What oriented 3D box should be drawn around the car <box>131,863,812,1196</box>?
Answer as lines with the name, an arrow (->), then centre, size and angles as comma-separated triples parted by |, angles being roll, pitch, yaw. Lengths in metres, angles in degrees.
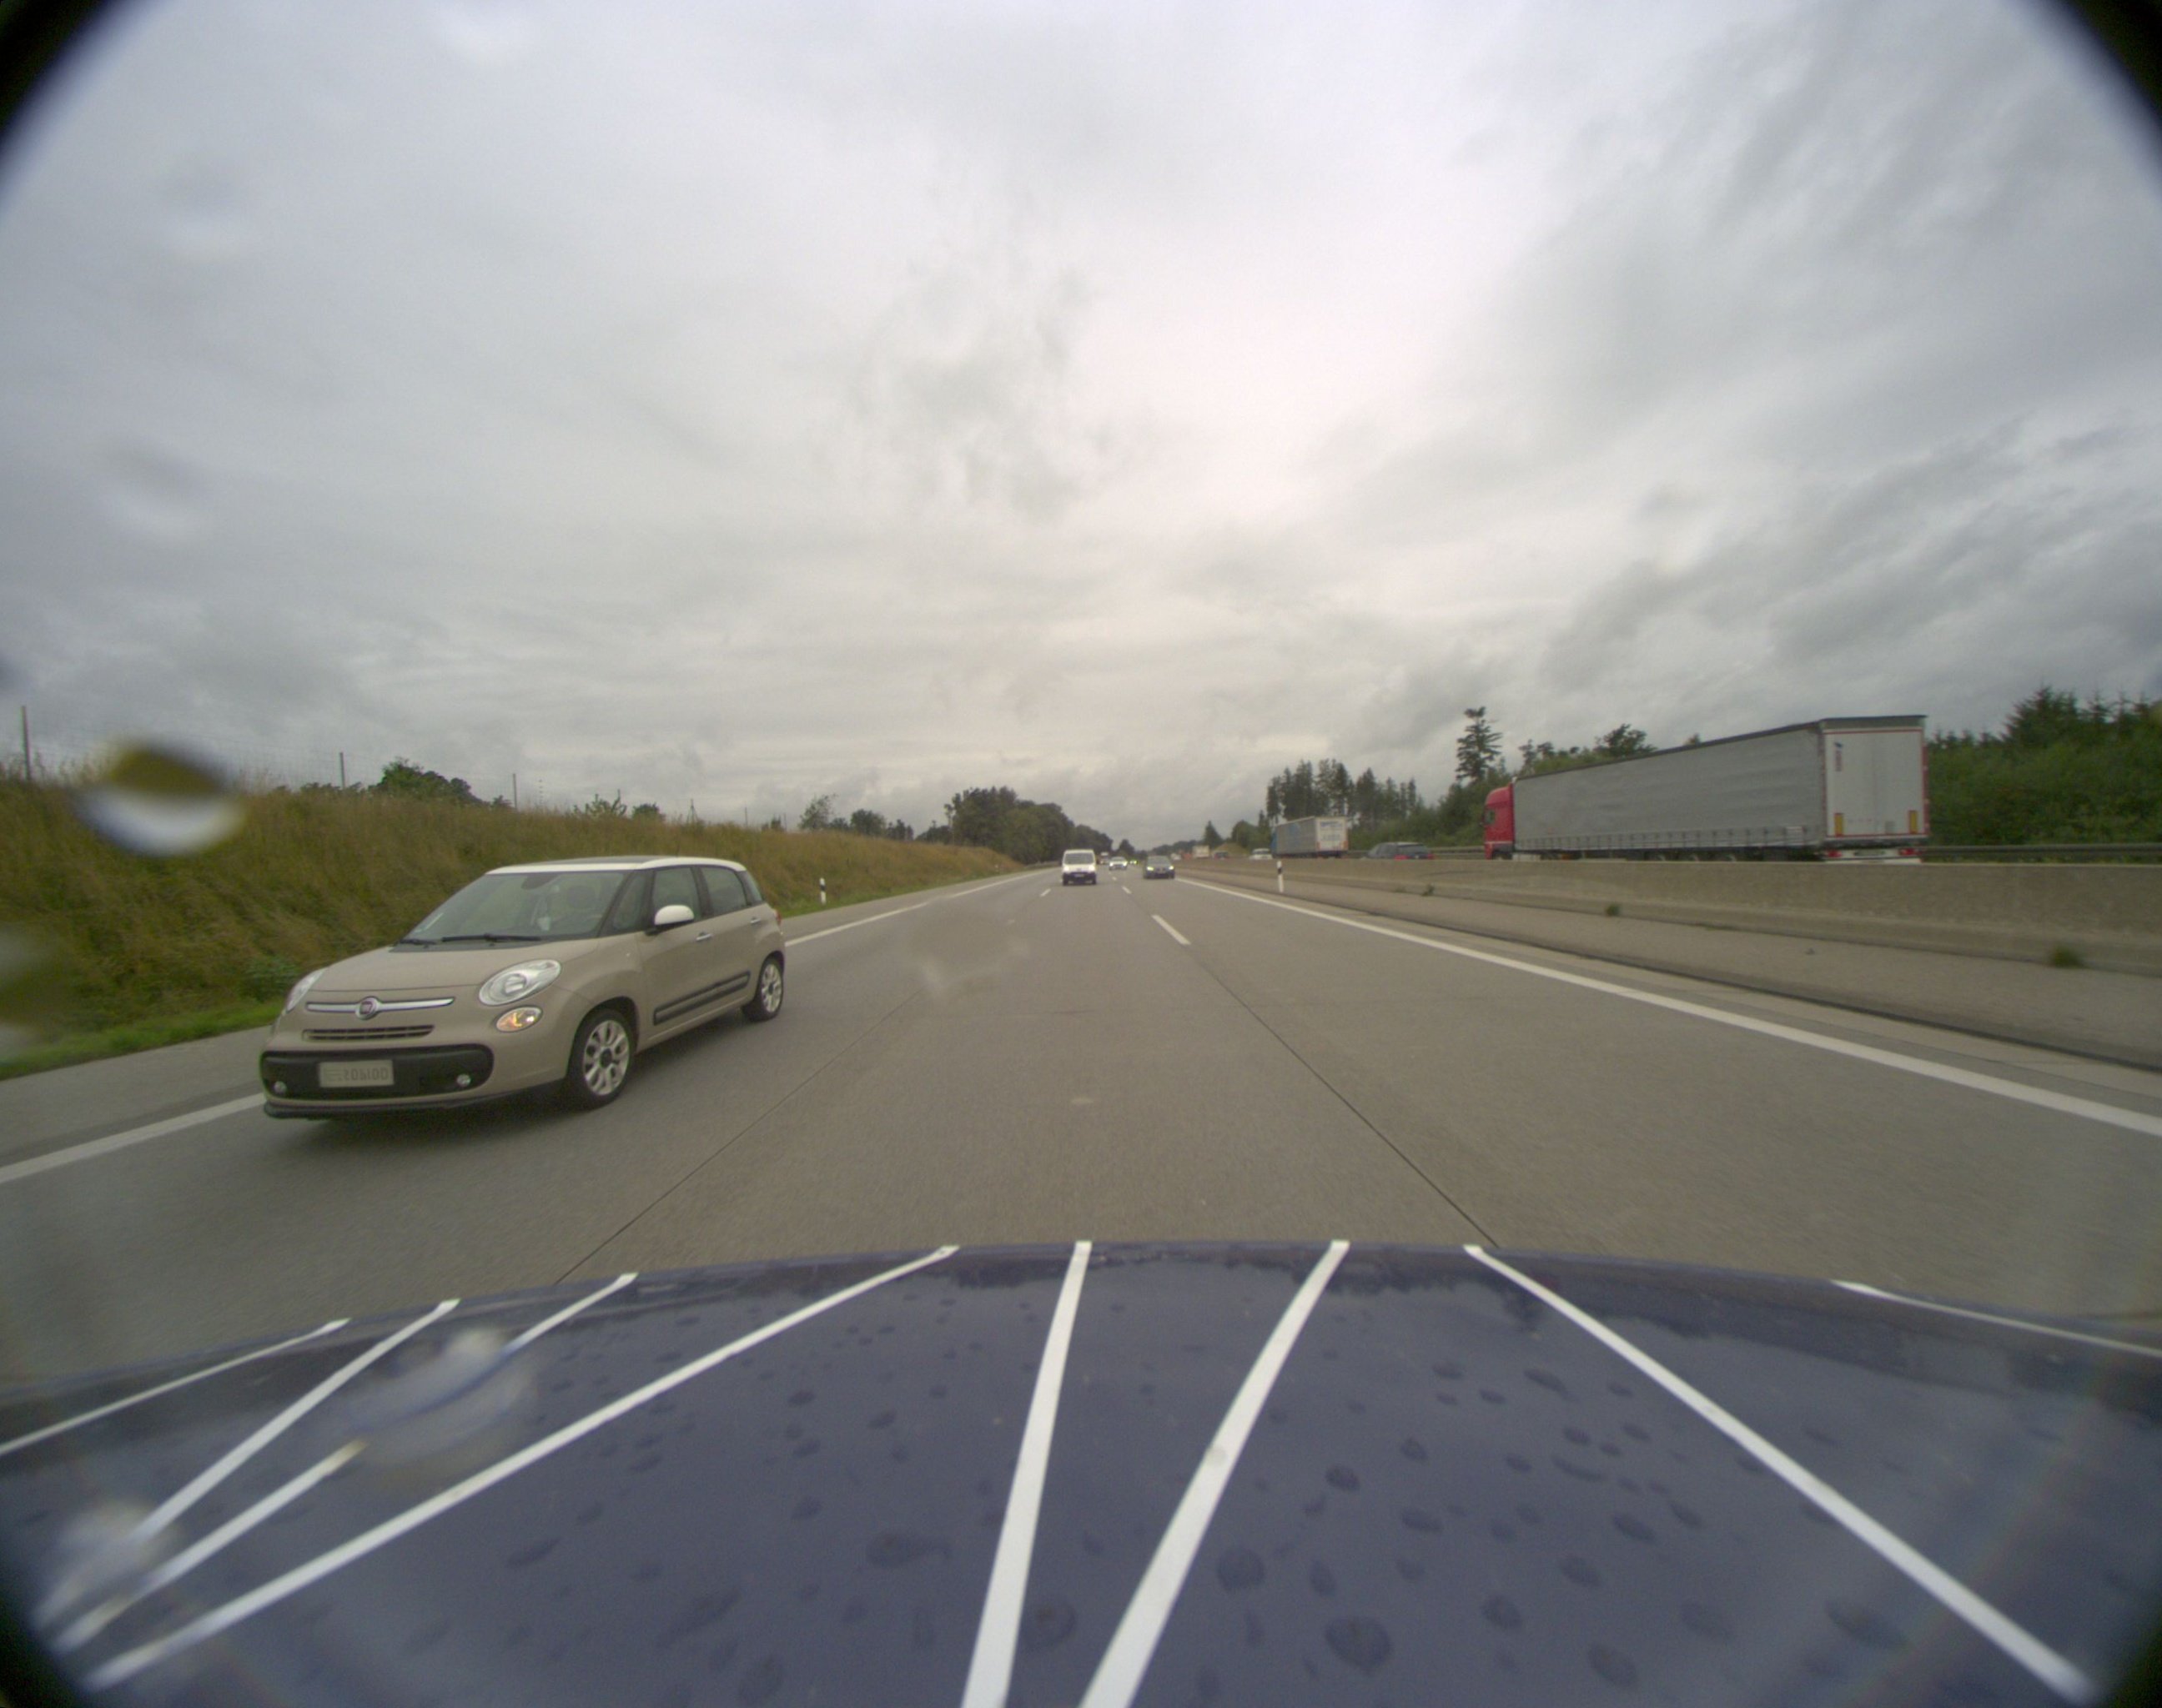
car -> -3.940, 0.933, 6.195 | 1.789, 1.595, 4.570 | -2, 0, 0

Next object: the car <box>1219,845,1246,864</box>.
car -> 13.735, 0.023, 69.170 | 1.702, 1.605, 4.720 | -2, 0, 2

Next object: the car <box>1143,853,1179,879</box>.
car -> 5.045, 0.720, 48.336 | 1.789, 1.472, 4.571 | -2, 0, 1

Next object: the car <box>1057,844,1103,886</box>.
car -> 0.029, 0.587, 42.795 | 2.042, 2.111, 6.069 | -2, 0, 4

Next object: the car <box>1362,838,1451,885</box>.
car -> 12.800, 0.285, 30.157 | 1.718, 1.669, 4.181 | -2, 0, 1

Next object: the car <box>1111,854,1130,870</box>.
car -> 4.592, 0.926, 87.459 | 2.031, 1.669, 4.320 | -2, 0, 3

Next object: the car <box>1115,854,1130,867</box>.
car -> 5.734, 0.935, 105.939 | 1.885, 1.669, 4.319 | -2, 0, 1

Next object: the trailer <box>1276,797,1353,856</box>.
trailer -> 20.514, -2.200, 67.943 | 2.923, 4.598, 13.638 | -2, 0, 2

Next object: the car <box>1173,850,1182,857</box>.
car -> 22.147, -0.070, 175.065 | 1.633, 1.557, 4.411 | -2, 0, 2

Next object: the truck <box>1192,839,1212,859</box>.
truck -> 24.767, -0.959, 156.034 | 2.906, 3.841, 8.901 | -2, 0, 2

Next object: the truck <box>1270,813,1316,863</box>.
truck -> 20.749, -1.495, 74.651 | 2.935, 4.649, 5.233 | -2, 0, 1

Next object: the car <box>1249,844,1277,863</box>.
car -> 16.812, -0.015, 70.522 | 1.618, 1.641, 4.295 | -2, 0, 2

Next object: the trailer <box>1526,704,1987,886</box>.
trailer -> 19.792, -1.386, 24.472 | 3.492, 4.177, 12.929 | -2, 0, 2

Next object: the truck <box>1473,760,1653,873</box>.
truck -> 19.990, -1.431, 32.116 | 3.478, 4.158, 6.494 | -2, 0, 1
